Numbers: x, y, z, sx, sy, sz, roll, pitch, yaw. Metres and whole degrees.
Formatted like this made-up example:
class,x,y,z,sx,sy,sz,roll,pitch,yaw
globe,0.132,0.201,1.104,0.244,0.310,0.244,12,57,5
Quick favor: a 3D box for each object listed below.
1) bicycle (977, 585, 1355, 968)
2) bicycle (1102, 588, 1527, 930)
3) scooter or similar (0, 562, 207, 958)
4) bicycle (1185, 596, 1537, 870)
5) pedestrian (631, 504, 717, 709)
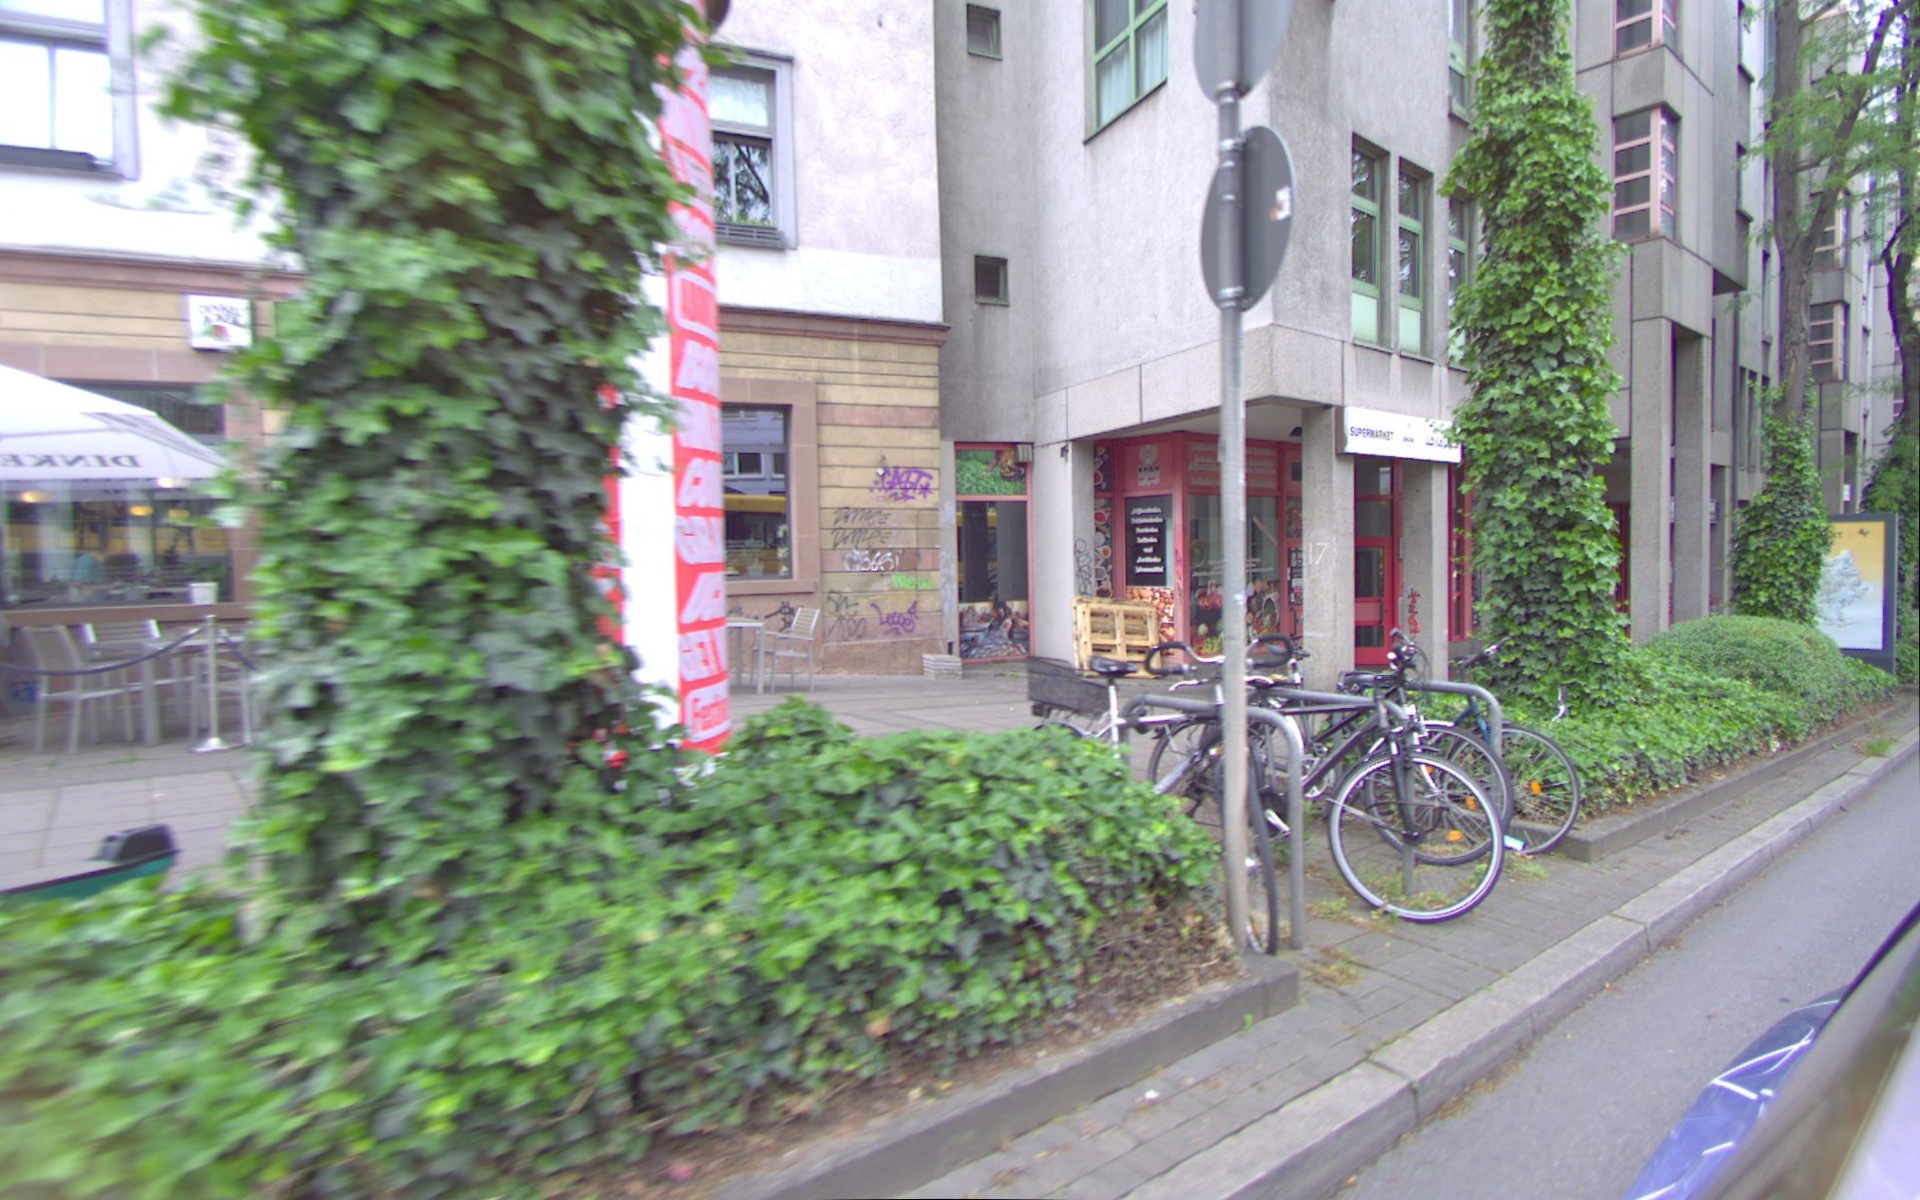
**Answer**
class,x,y,z,sx,sy,sz,roll,pitch,yaw
bicycle,0.789,0.610,4.200,0.533,1.236,1.422,0,4,-44
bicycle,1.509,0.583,4.568,0.533,1.237,1.741,0,1,-44
scooter or similar,-3.424,0.506,3.534,0.618,1.269,1.393,0,2,-5
bicycle,2.084,0.609,5.444,0.533,1.237,1.688,0,0,-44
pedestrian,-2.704,0.061,9.651,0.720,1.857,0.905,0,-1,-12
